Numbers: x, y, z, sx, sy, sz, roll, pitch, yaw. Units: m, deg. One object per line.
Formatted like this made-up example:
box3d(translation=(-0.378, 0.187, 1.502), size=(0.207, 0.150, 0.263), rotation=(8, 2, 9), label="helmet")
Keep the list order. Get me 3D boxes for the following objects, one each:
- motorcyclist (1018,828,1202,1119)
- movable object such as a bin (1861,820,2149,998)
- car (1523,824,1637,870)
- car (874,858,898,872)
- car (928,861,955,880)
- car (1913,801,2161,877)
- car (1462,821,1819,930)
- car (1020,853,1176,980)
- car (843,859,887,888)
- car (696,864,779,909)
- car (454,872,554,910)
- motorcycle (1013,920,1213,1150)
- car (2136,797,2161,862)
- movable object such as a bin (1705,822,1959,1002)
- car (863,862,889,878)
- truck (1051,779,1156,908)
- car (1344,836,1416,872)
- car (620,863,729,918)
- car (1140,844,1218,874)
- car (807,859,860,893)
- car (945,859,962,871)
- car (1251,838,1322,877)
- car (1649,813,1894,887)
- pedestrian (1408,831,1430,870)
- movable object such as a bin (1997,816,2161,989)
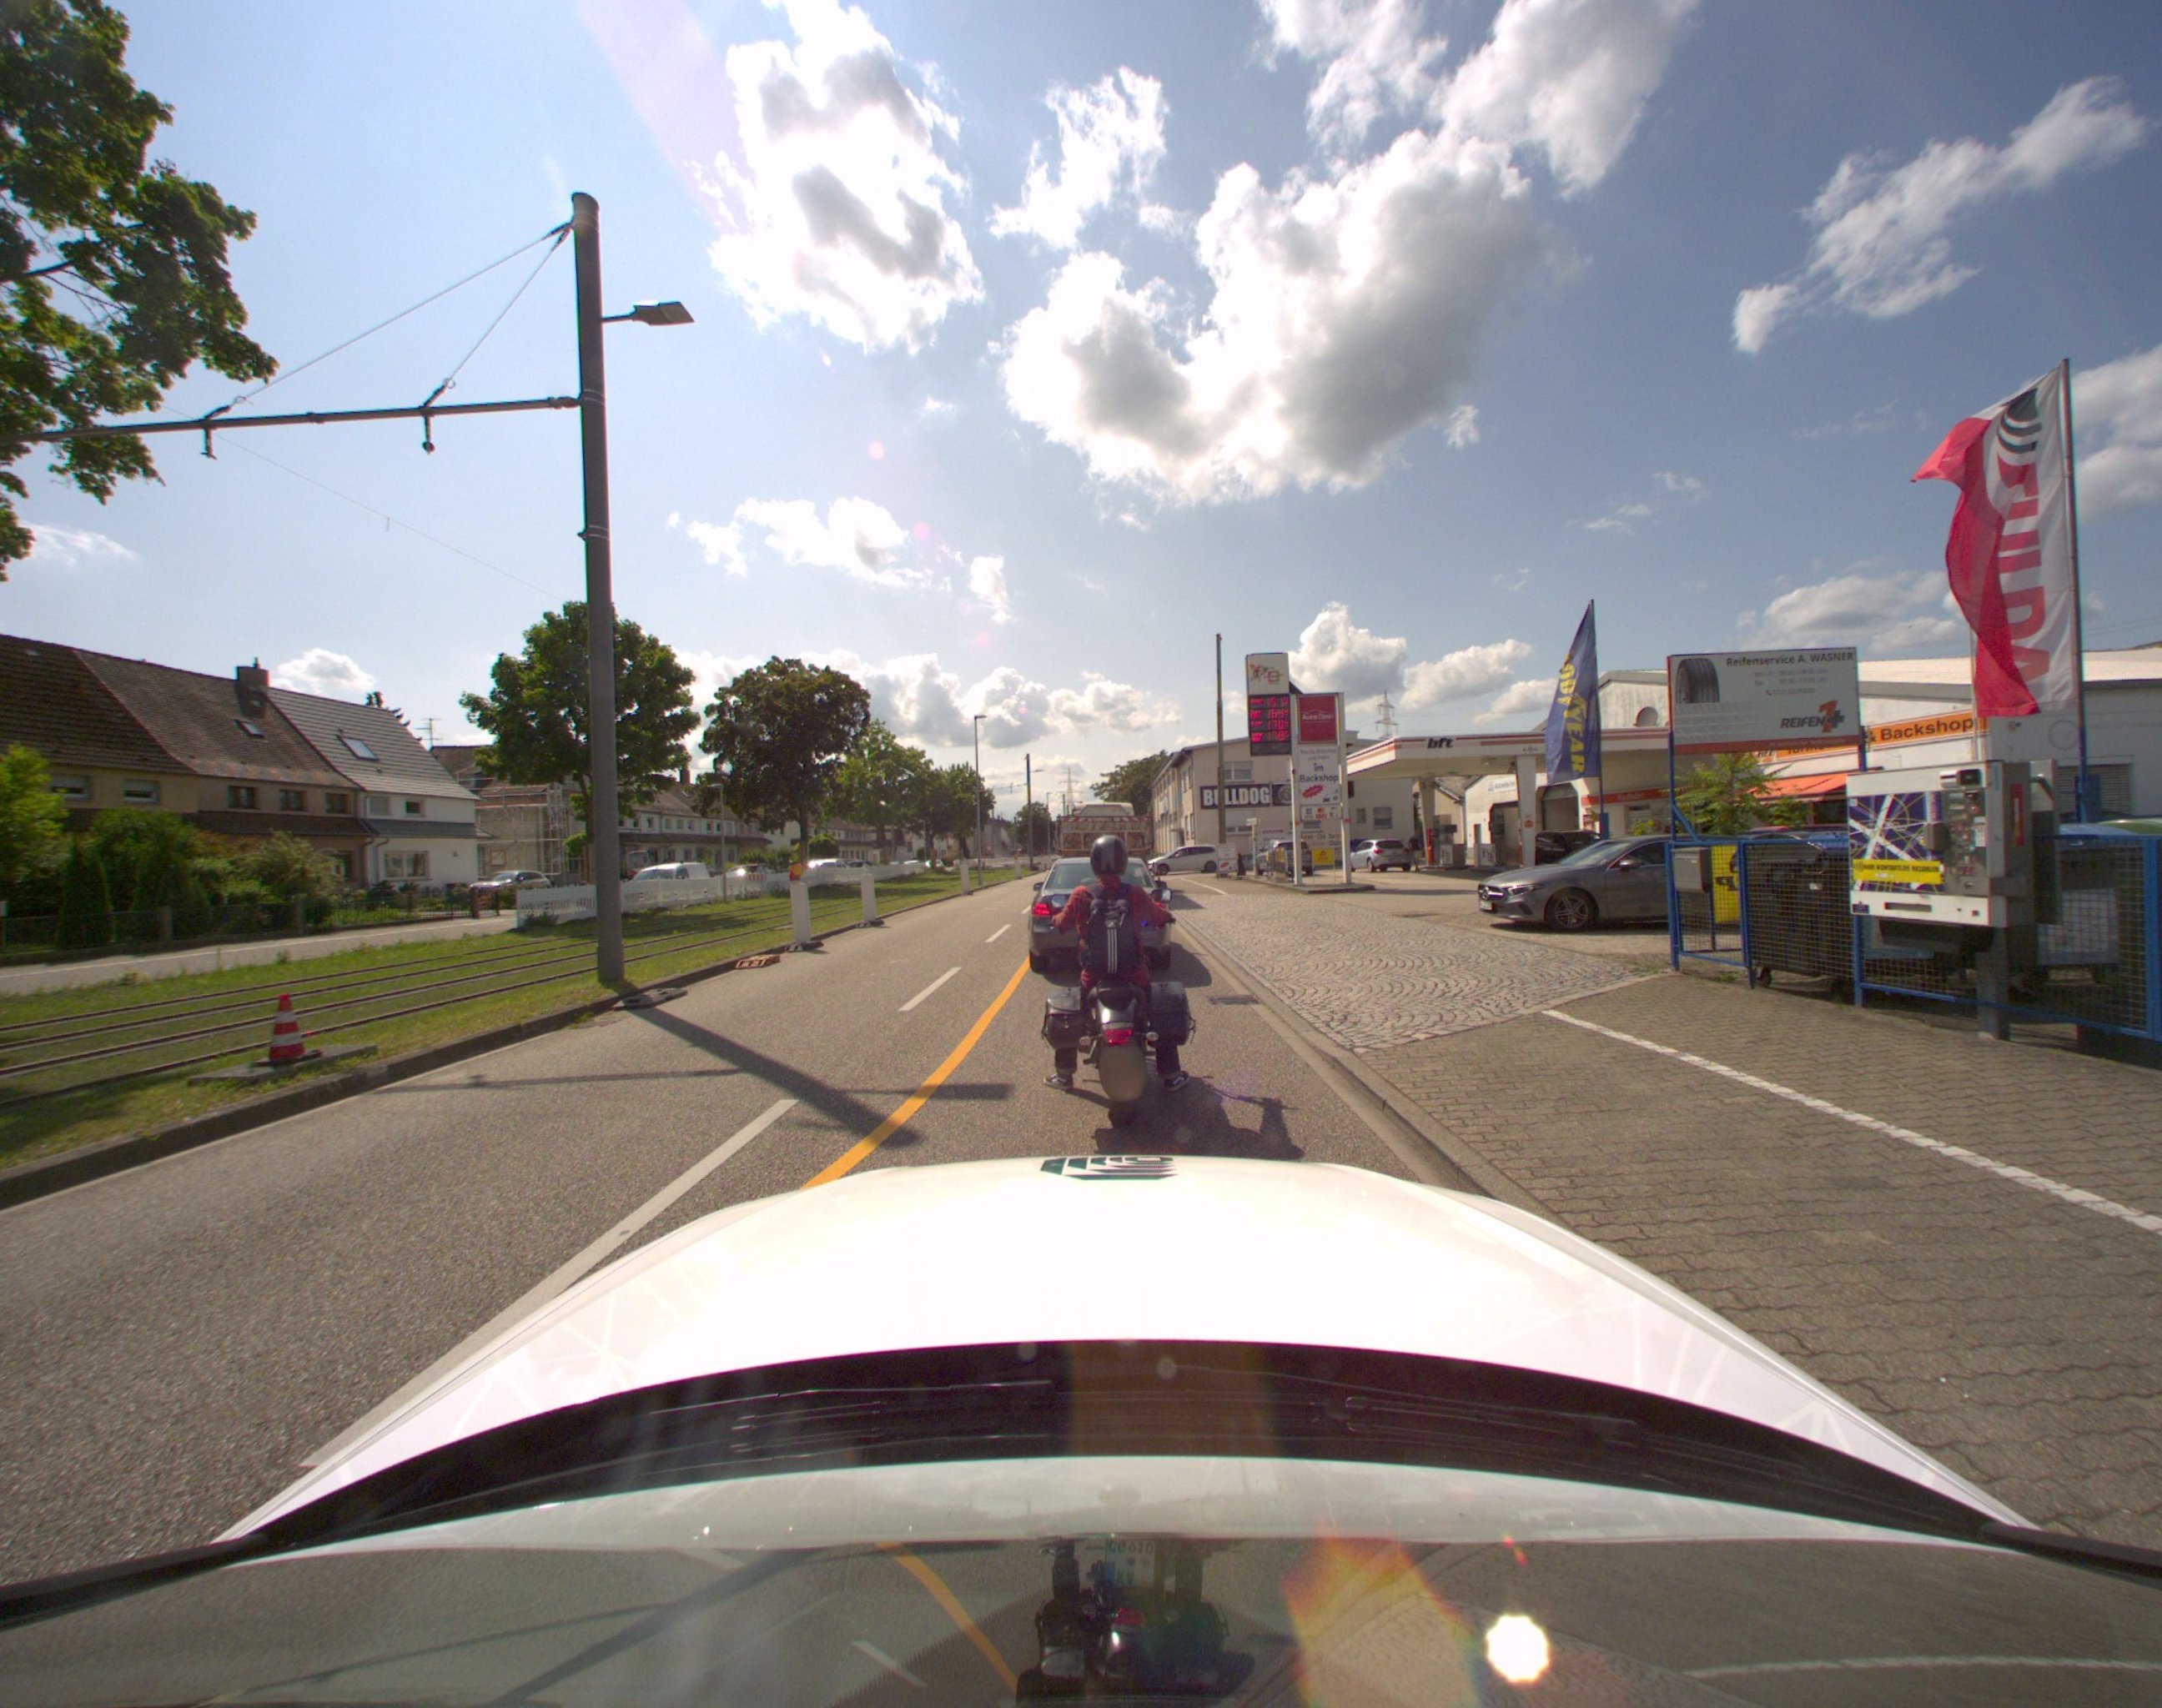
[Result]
box3d(translation=(0.180, 0.675, 5.141), size=(0.975, 1.602, 1.088), rotation=(-2, 0, 1), label="motorcyclist")
box3d(translation=(8.084, 0.444, 7.219), size=(1.104, 1.396, 1.244), rotation=(-2, 0, 1), label="movable object such as a bin")
box3d(translation=(18.120, -0.248, 29.784), size=(1.800, 1.503, 3.833), rotation=(-2, 0, 0), label="car")
box3d(translation=(-25.160, 1.399, 105.204), size=(1.769, 1.722, 4.130), rotation=(-2, 0, 2), label="car")
box3d(translation=(-13.728, 1.630, 80.455), size=(1.769, 1.722, 4.130), rotation=(-2, 0, 2), label="car")
box3d(translation=(21.523, -0.341, 18.165), size=(4.180, 1.463, 1.587), rotation=(-2, 0, 2), label="car")
box3d(translation=(8.433, 0.321, 12.604), size=(4.250, 1.415, 1.677), rotation=(-2, 0, 6), label="car")
box3d(translation=(0.261, 0.729, 11.515), size=(1.816, 1.452, 4.002), rotation=(0, 0, 2), label="car")
box3d(translation=(-14.804, 1.334, 56.039), size=(1.769, 1.805, 4.130), rotation=(-2, 0, 2), label="car")
box3d(translation=(-15.407, 1.396, 36.799), size=(1.769, 1.774, 4.230), rotation=(-2, 0, 2), label="car")
box3d(translation=(-27.436, 1.724, 38.895), size=(1.769, 1.519, 4.002), rotation=(-2, 0, 2), label="car")
box3d(translation=(0.205, 1.024, 5.445), size=(0.975, 0.897, 2.654), rotation=(-2, 0, 2), label="motorcycle")
box3d(translation=(26.527, -0.638, 18.002), size=(4.180, 1.463, 1.587), rotation=(-2, 0, 2), label="car")
box3d(translation=(6.690, 0.477, 7.359), size=(1.104, 1.436, 1.244), rotation=(-2, 0, 1), label="movable object such as a bin")
box3d(translation=(-24.388, 1.836, 97.043), size=(1.769, 1.722, 4.130), rotation=(-2, 0, 2), label="car")
box3d(translation=(0.728, -0.289, 25.500), size=(2.628, 3.296, 8.059), rotation=(-2, 0, 2), label="truck")
box3d(translation=(13.477, -0.010, 36.920), size=(1.800, 1.503, 3.832), rotation=(-2, 0, -1), label="car")
box3d(translation=(-15.424, 1.313, 31.156), size=(1.769, 1.821, 4.366), rotation=(-2, 0, 2), label="car")
box3d(translation=(5.643, 0.291, 47.111), size=(4.225, 1.543, 1.669), rotation=(-2, 0, -7), label="car")
box3d(translation=(-15.063, 1.326, 49.861), size=(1.769, 1.867, 4.130), rotation=(-2, 0, 2), label="car")
box3d(translation=(-19.633, 1.632, 125.917), size=(1.769, 1.722, 4.130), rotation=(-2, 0, 2), label="car")
box3d(translation=(9.117, 0.149, 36.453), size=(1.665, 1.562, 4.235), rotation=(-2, 0, -6), label="car")
box3d(translation=(15.775, -0.090, 18.758), size=(4.180, 1.463, 1.587), rotation=(-2, 0, 2), label="car")
box3d(translation=(14.653, -0.133, 35.319), size=(0.701, 1.656, 0.551), rotation=(-2, 0, 37), label="pedestrian")
box3d(translation=(9.487, 0.373, 7.131), size=(1.397, 1.396, 1.338), rotation=(-2, 0, 1), label="movable object such as a bin")
